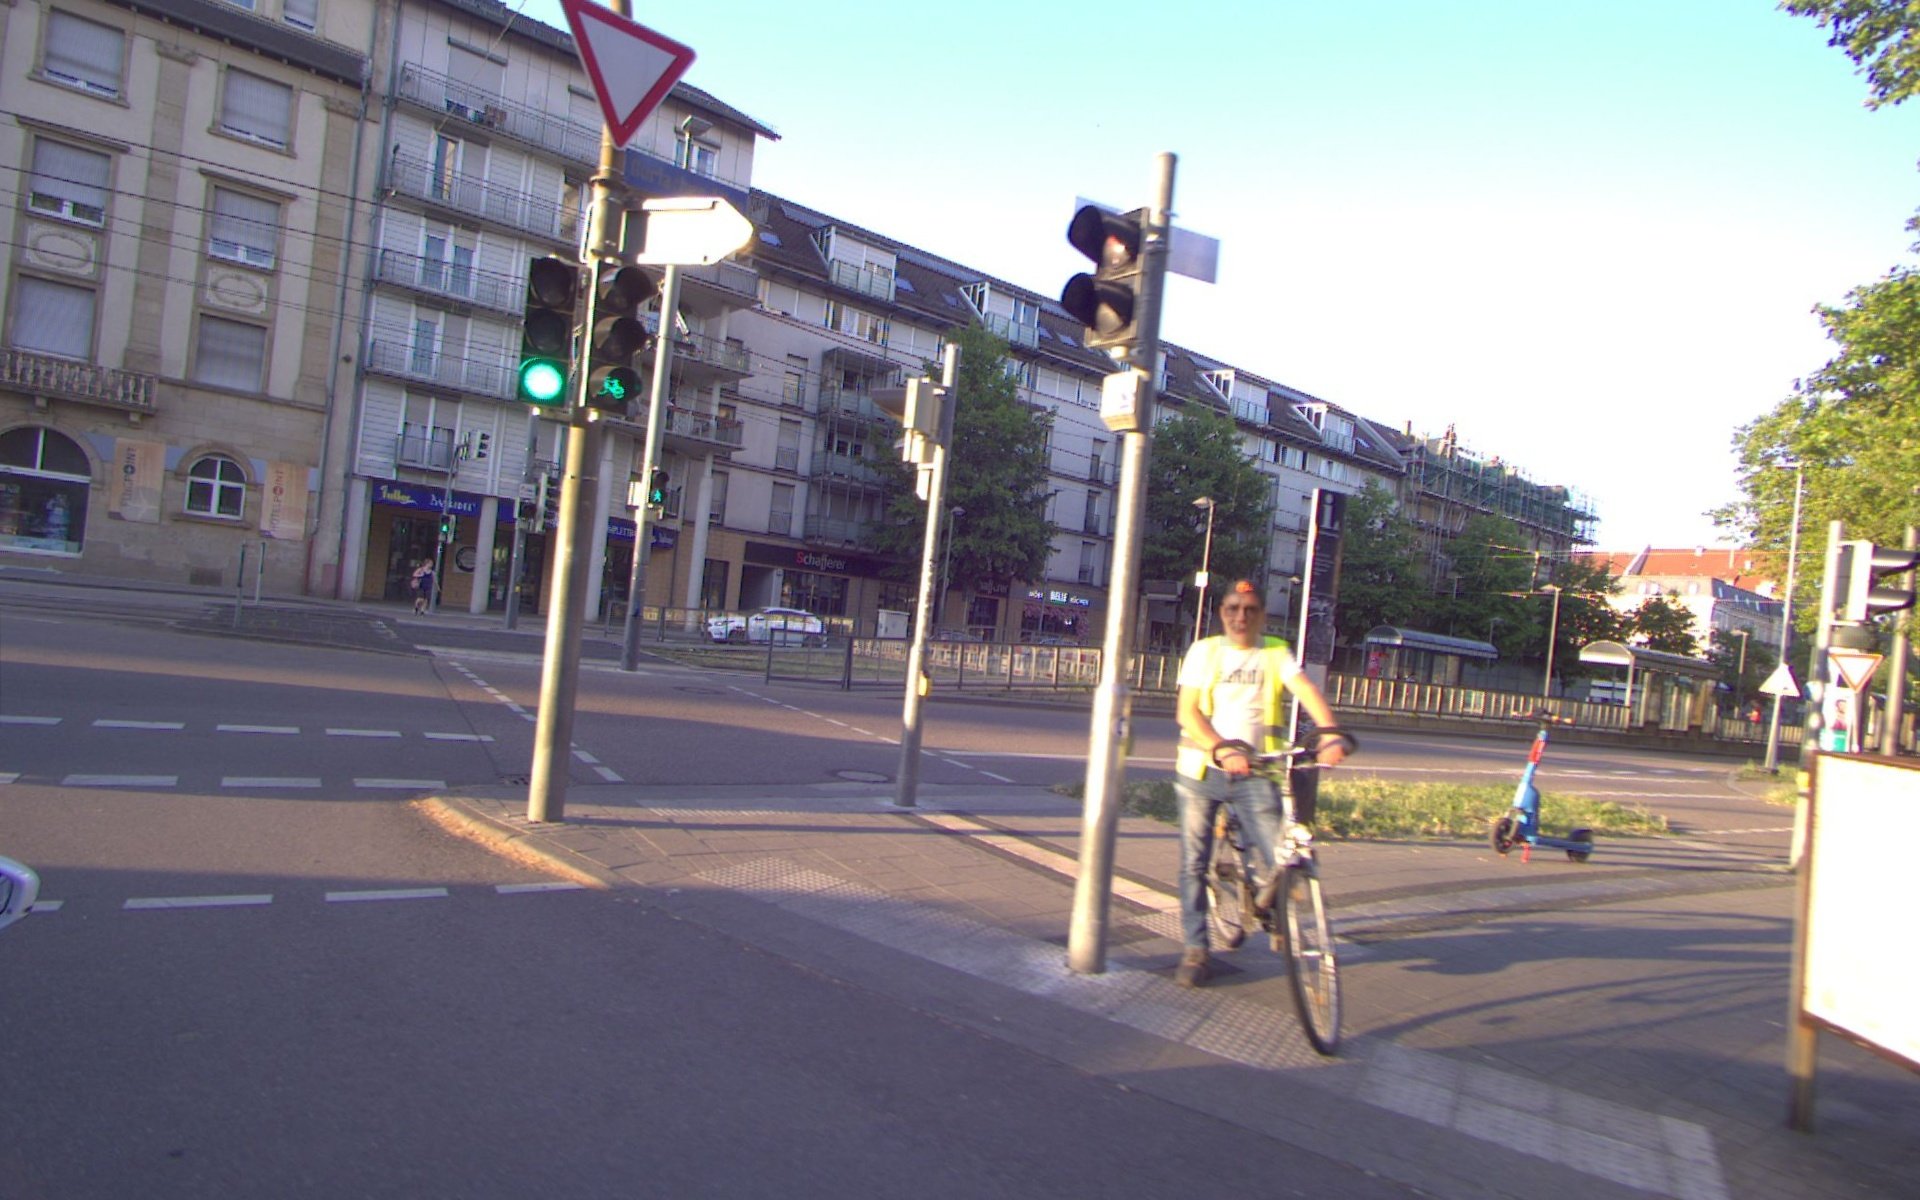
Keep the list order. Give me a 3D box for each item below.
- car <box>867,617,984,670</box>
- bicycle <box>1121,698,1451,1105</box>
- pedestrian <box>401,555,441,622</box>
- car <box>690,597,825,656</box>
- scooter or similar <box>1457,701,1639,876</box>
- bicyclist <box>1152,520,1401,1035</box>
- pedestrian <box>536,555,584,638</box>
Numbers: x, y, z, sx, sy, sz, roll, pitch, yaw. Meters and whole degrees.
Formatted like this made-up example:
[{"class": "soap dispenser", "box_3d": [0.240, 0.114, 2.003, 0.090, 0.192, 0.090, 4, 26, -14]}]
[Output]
[{"class": "car", "box_3d": [-1.271, 1.652, 37.777, 3.969, 1.503, 1.831, 9, -3, -38]}, {"class": "bicycle", "box_3d": [1.205, 1.059, 4.239, 0.616, 1.122, 2.074, 6, -2, 0]}, {"class": "pedestrian", "box_3d": [-15.285, -0.328, 28.523, 0.781, 1.799, 0.539, 7, -2, -33]}, {"class": "car", "box_3d": [-6.800, 0.905, 33.851, 3.962, 1.503, 1.834, 8, -3, -34]}, {"class": "scooter or similar", "box_3d": [4.796, 1.535, 8.213, 1.216, 1.263, 0.514, 7, -2, -18]}, {"class": "bicyclist", "box_3d": [1.246, 0.671, 4.090, 0.616, 1.845, 0.699, 6, -1, 0]}, {"class": "pedestrian", "box_3d": [-11.266, -0.110, 28.357, 0.814, 2.234, 0.862, 7, -2, -39]}]
